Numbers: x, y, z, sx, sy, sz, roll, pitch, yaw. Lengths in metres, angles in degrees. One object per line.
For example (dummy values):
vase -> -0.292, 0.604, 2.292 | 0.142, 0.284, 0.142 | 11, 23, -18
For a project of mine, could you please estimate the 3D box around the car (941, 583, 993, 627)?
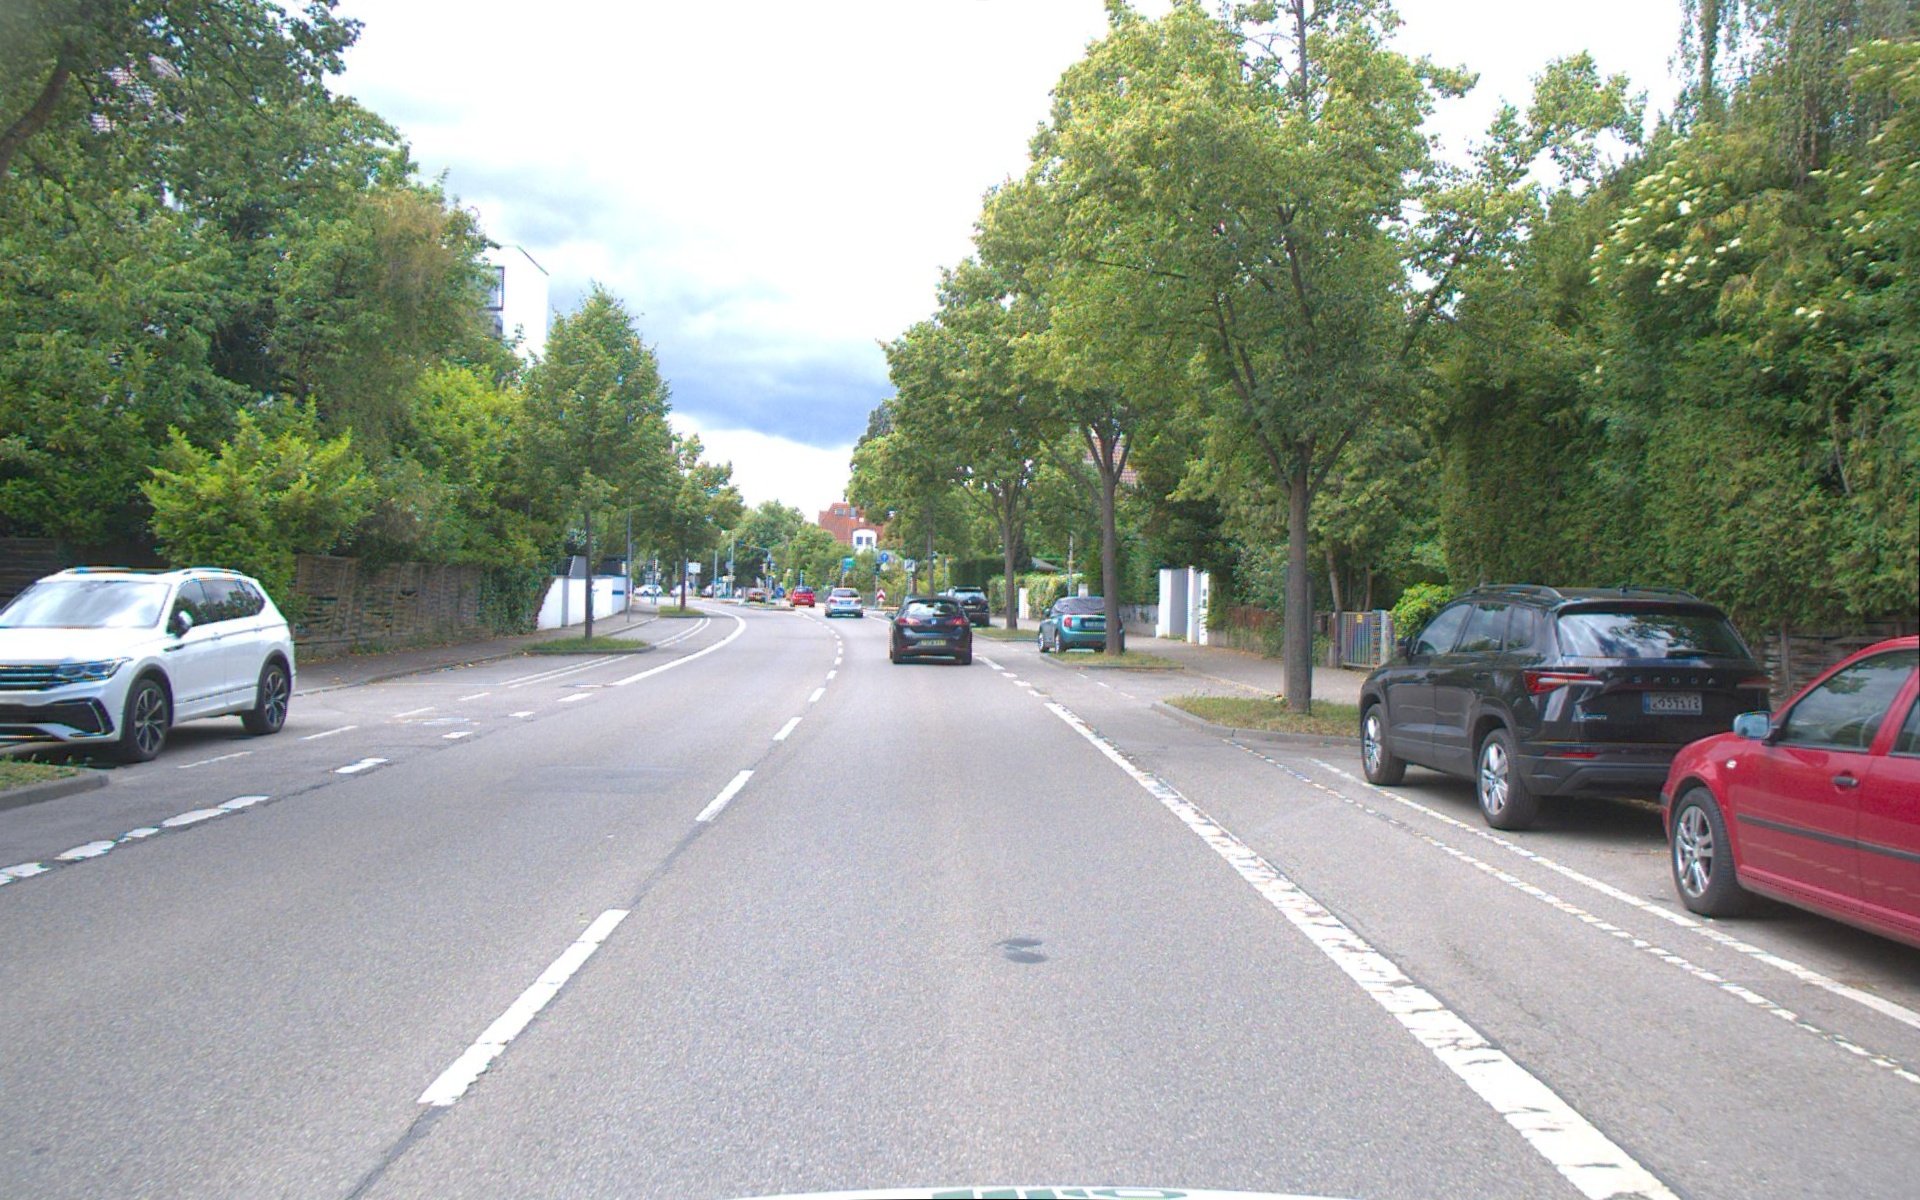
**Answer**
car -> 0.272, 0.197, 69.401 | 1.754, 1.802, 3.977 | 1, 0, -6

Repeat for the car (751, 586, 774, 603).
car -> -18.438, -0.524, 154.558 | 1.955, 1.534, 3.995 | 1, -1, -6

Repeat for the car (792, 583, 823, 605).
car -> -10.992, -0.461, 119.338 | 1.957, 1.557, 3.991 | 1, 0, -9

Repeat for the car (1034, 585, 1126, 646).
car -> 2.984, 0.361, 41.863 | 1.650, 1.457, 4.039 | 1, 0, -6

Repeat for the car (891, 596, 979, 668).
car -> -0.590, 0.654, 35.983 | 1.747, 1.474, 3.555 | 1, 0, -3

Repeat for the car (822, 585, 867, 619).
car -> -5.905, 0.067, 84.135 | 1.957, 1.585, 3.992 | 0, 2, -9

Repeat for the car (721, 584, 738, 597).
car -> -29.753, -1.201, 213.311 | 1.934, 1.705, 3.874 | 1, 0, -4

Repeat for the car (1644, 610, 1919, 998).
car -> 4.455, 0.790, 6.883 | 1.604, 1.445, 4.000 | 0, 0, 1

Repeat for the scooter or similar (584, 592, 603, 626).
scooter or similar -> -12.893, 0.297, 58.211 | 0.492, 1.174, 1.299 | 1, 0, -6

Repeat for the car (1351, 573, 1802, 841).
car -> 4.334, 0.657, 12.359 | 1.605, 1.644, 4.167 | 1, 0, -3

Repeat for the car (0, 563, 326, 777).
car -> -7.836, 0.547, 15.689 | 1.835, 1.718, 4.865 | 0, 0, -1
